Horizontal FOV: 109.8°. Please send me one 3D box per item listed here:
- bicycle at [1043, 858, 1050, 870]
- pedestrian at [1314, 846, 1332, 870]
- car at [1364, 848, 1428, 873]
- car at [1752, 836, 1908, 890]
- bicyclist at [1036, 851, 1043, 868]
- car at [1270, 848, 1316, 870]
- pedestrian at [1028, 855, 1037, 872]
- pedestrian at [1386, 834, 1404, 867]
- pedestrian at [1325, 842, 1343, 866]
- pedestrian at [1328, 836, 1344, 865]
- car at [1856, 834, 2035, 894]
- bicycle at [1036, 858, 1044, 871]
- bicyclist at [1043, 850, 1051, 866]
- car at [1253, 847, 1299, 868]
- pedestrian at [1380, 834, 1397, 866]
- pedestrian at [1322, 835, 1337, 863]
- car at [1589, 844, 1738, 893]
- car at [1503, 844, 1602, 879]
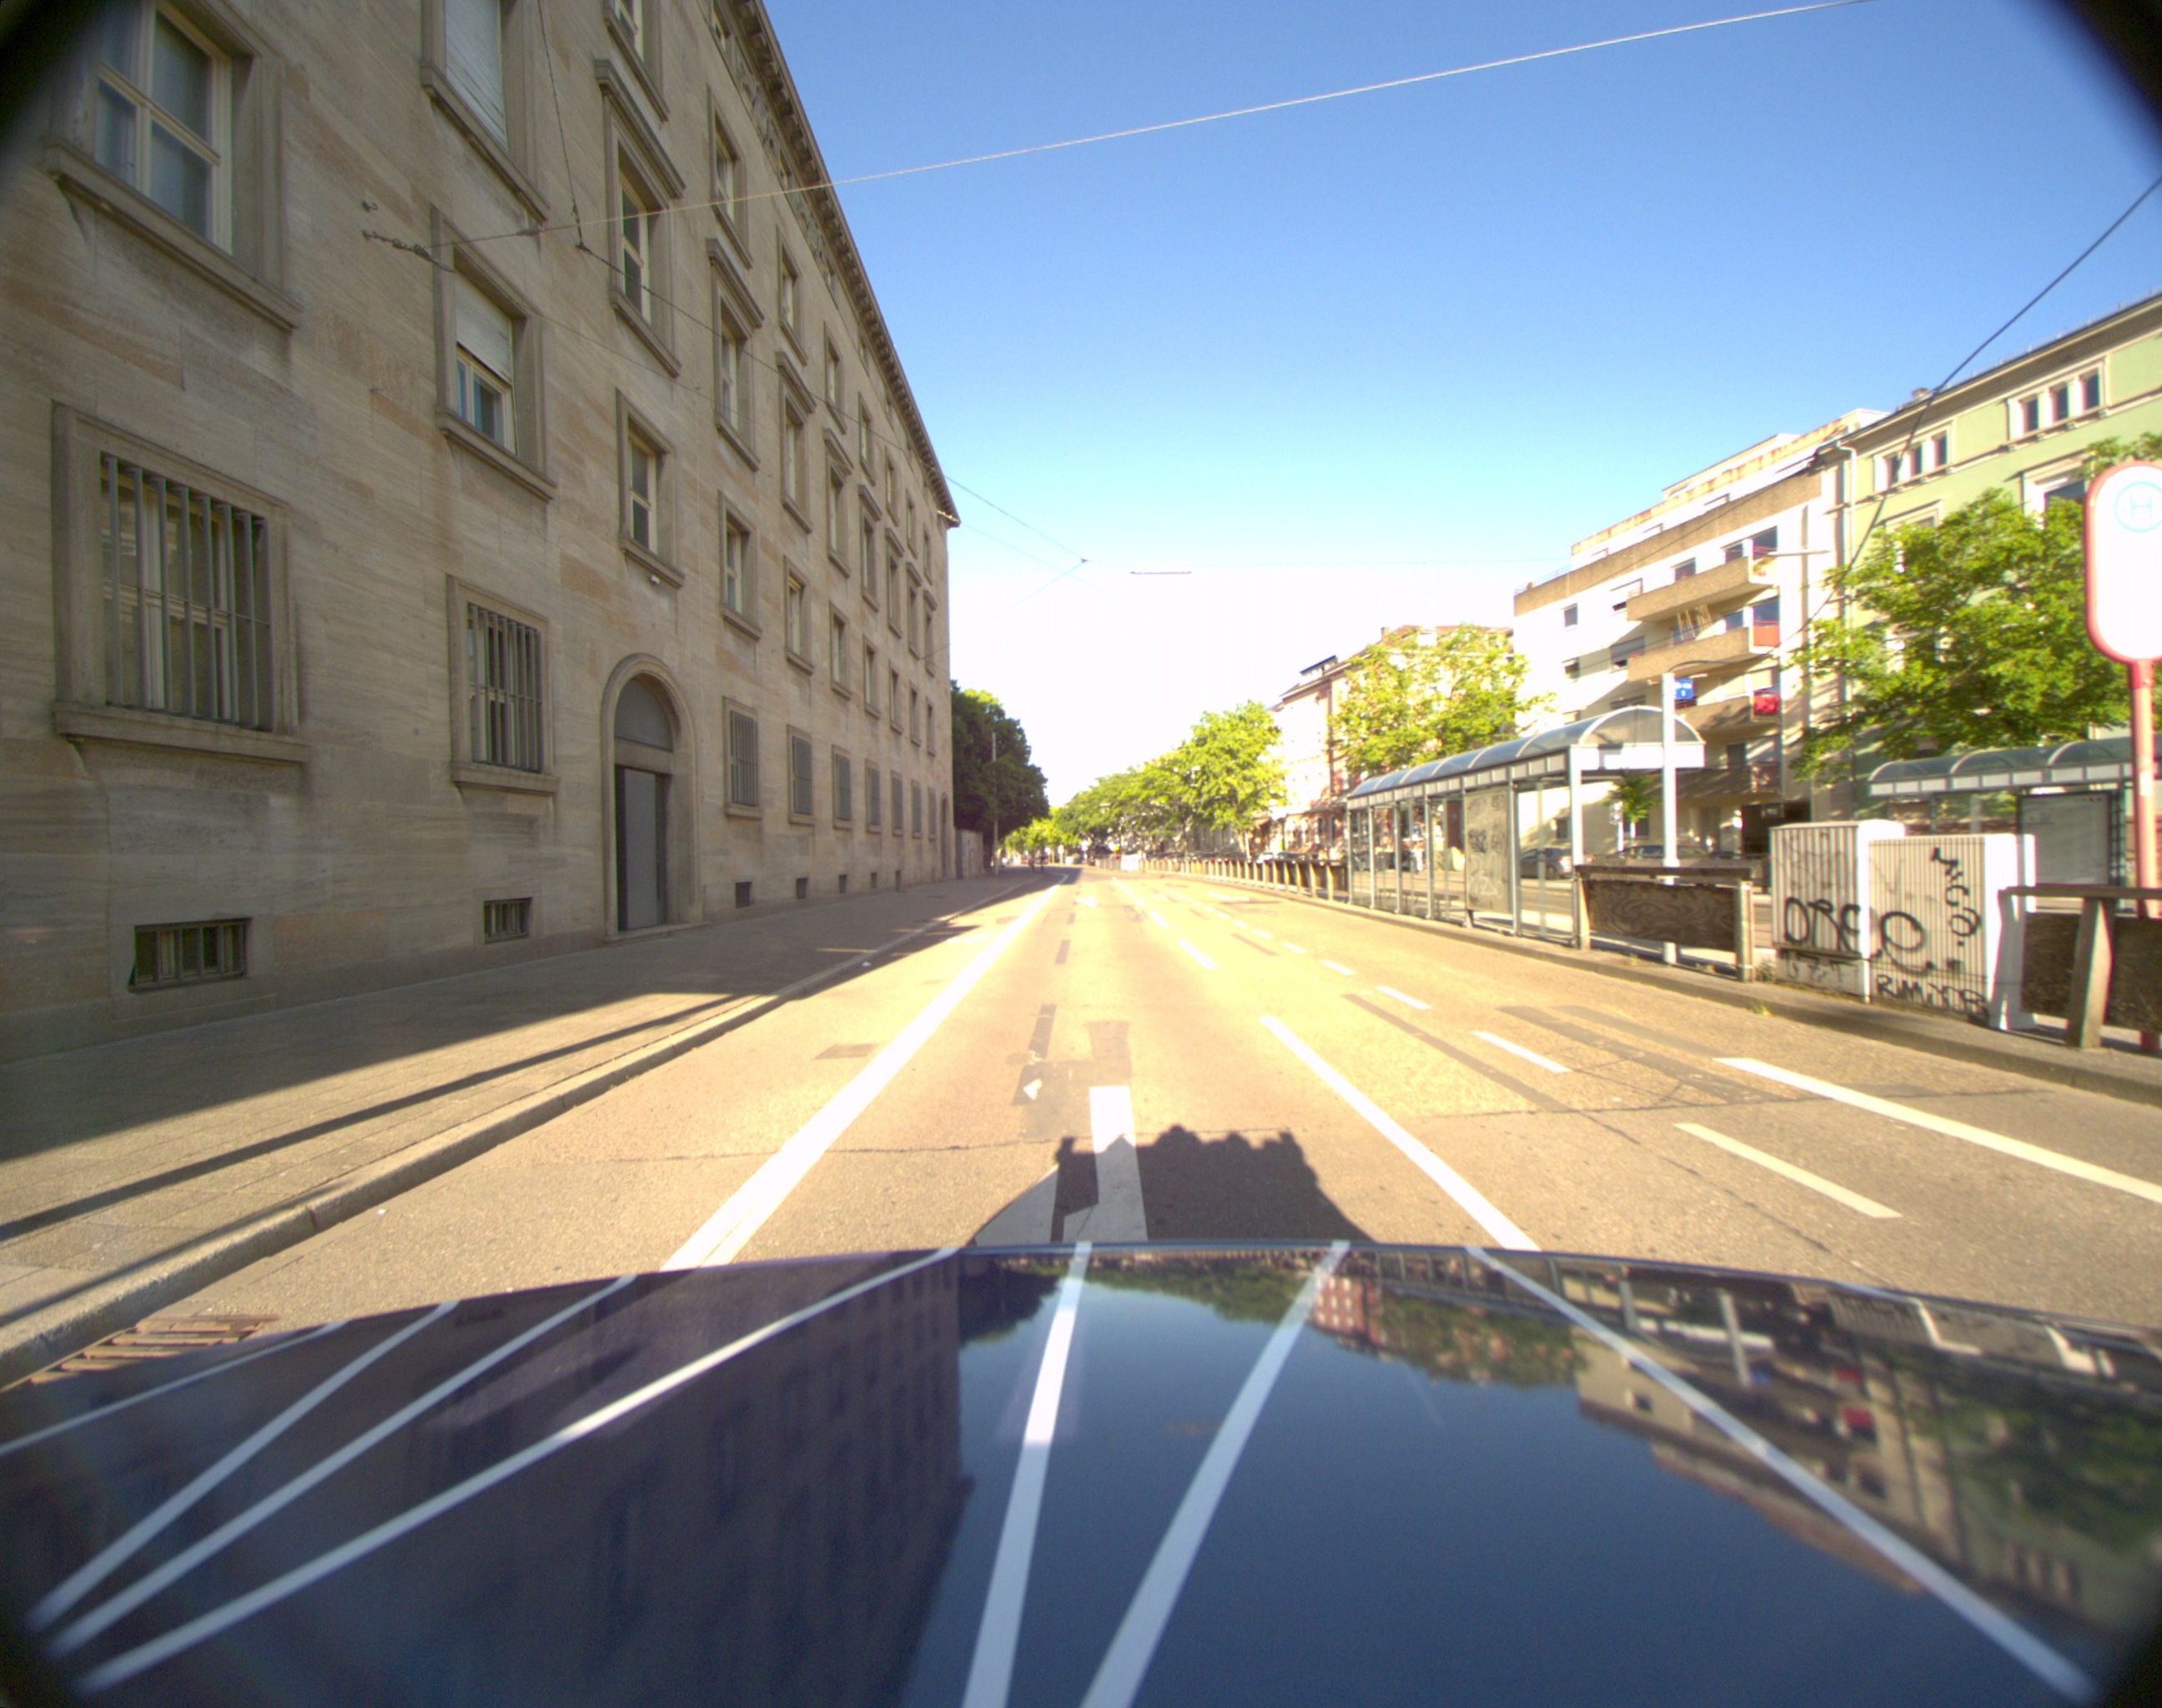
[{"bbox_3d":[-3.435,1.022,76.404,0.625,1.167,1.566,0,0,1],"label":"bicycle"},{"bbox_3d":[16.611,0.292,52.184,0.868,1.619,0.891,-1,1,-10],"label":"pedestrian"},{"bbox_3d":[18.424,0.366,44.594,1.609,1.388,3.997,-1,0,-9],"label":"car"},{"bbox_3d":[23.913,0.257,24.293,4.002,1.573,1.761,-1,0,-14],"label":"car"},{"bbox_3d":[-4.214,0.563,77.017,0.625,1.729,0.688,-3,1,1],"label":"bicyclist"},{"bbox_3d":[14.037,0.342,50.510,1.670,1.400,3.877,0,0,-5],"label":"car"},{"bbox_3d":[-3.772,0.746,58.885,0.548,1.327,0.587,-1,1,7],"label":"pedestrian"},{"bbox_3d":[21.236,-0.253,51.393,0.813,2.194,0.756,-1,1,-10],"label":"pedestrian"},{"bbox_3d":[18.408,0.001,55.370,0.855,1.710,1.019,-1,1,-8],"label":"pedestrian"},{"bbox_3d":[19.358,-0.251,57.672,0.813,2.194,0.756,-1,1,-10],"label":"pedestrian"},{"bbox_3d":[24.712,0.255,21.752,4.002,1.573,1.761,-1,0,-14],"label":"car"},{"bbox_3d":[-4.191,1.053,76.895,0.625,1.214,1.659,-3,1,1],"label":"bicycle"},{"bbox_3d":[-3.438,0.422,76.401,0.728,1.570,0.775,0,1,1],"label":"bicyclist"},{"bbox_3d":[16.357,0.291,63.765,4.134,1.698,1.848,-1,1,-45],"label":"car"},{"bbox_3d":[21.175,-0.262,52.329,0.813,2.194,0.756,-1,1,-10],"label":"pedestrian"},{"bbox_3d":[19.391,-0.375,59.298,0.812,2.194,0.756,-1,1,-4],"label":"pedestrian"},{"bbox_3d":[19.162,0.429,25.239,1.647,1.480,3.998,-1,0,-6],"label":"car"},{"bbox_3d":[20.942,0.318,33.948,1.654,1.419,3.737,-1,0,-11],"label":"car"}]
